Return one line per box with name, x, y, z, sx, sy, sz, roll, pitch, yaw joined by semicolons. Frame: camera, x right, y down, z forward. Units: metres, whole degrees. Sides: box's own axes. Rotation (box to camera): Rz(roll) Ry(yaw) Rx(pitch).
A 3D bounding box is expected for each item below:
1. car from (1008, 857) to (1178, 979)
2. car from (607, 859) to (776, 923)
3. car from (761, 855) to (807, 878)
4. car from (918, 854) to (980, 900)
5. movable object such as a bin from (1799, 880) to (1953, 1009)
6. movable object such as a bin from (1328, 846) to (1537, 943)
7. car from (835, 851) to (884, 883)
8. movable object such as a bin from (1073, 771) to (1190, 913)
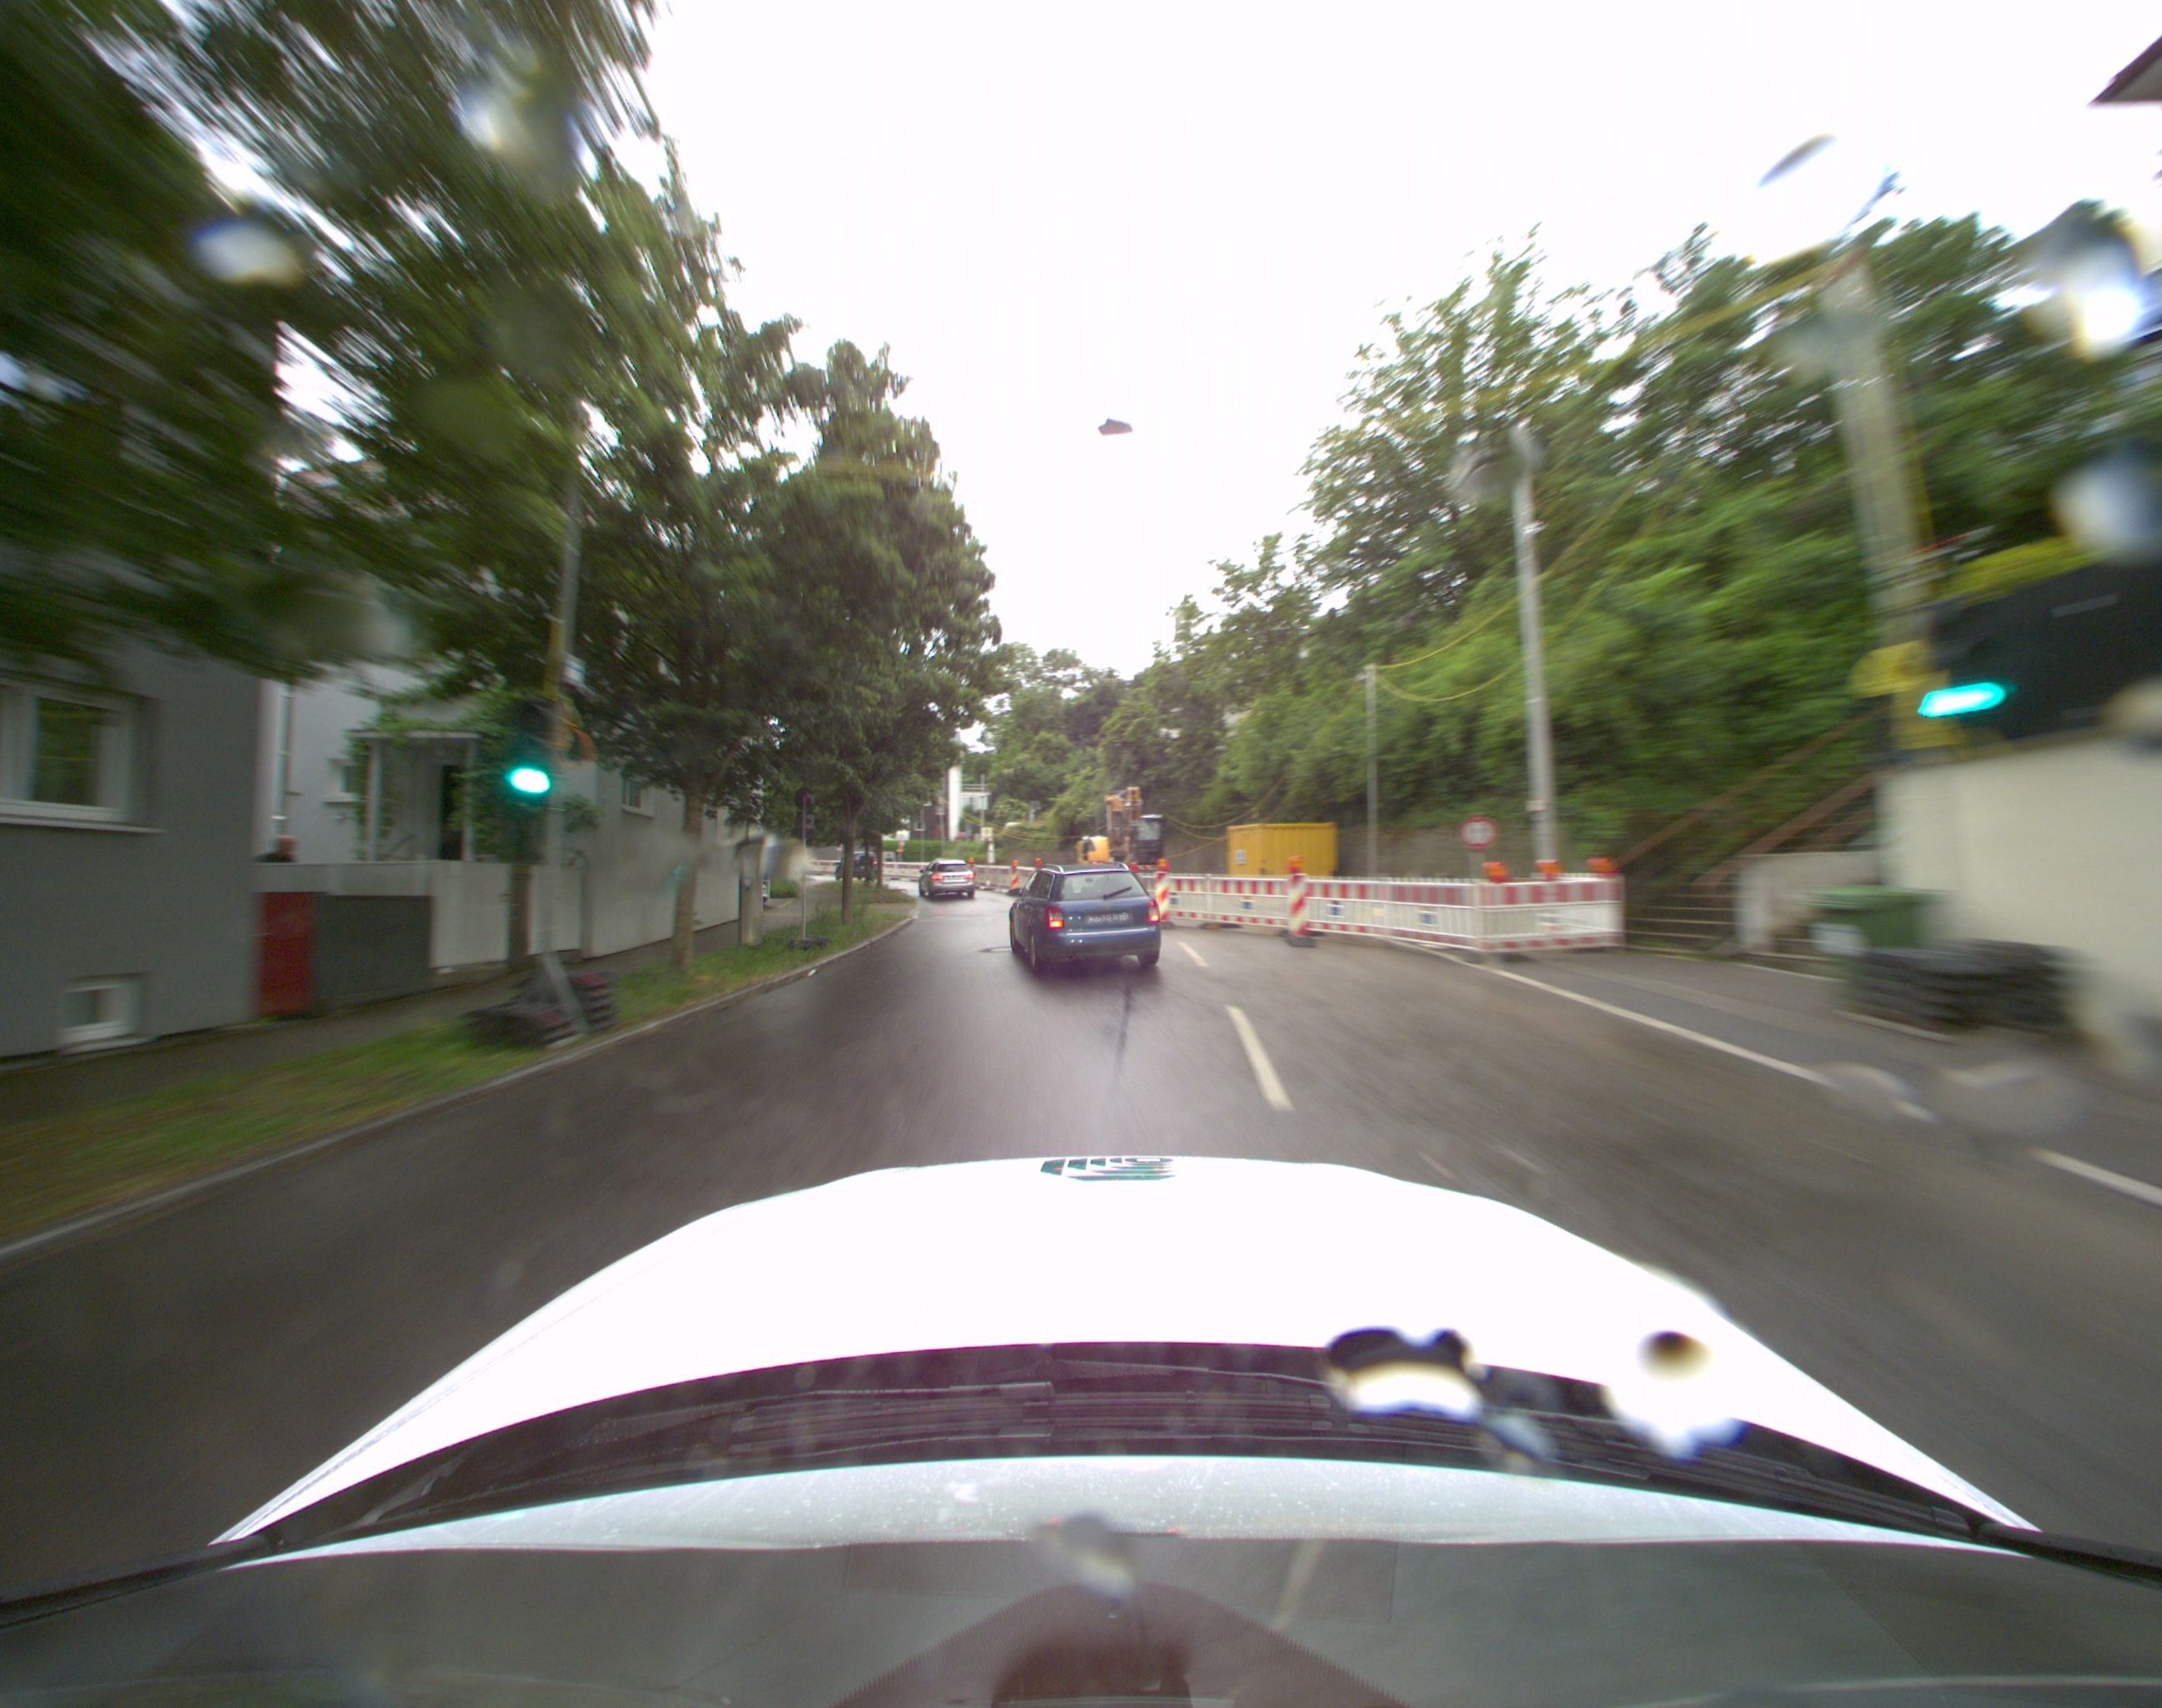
car;-0.002;0.804;12.111;1.786;1.442;3.950;-2;0;-10
car;-11.195;1.034;23.651;3.985;1.561;1.745;-3;0;-8
car;-22.398;0.931;61.339;1.736;1.486;4.026;-3;-1;-43
car;-5.343;0.862;32.598;1.930;1.618;4.297;-2;0;-16
movable object such as a bin;6.837;0.769;7.040;0.714;1.032;0.594;-3;-1;13
movable object such as a bin;6.326;0.633;15.236;1.989;1.519;3.995;-1;1;-4
car;-13.785;0.849;50.549;2.006;1.794;3.962;-3;-1;-29
movable object such as a bin;1.449;-0.367;27.332;2.814;4.014;7.315;-2;0;-4
